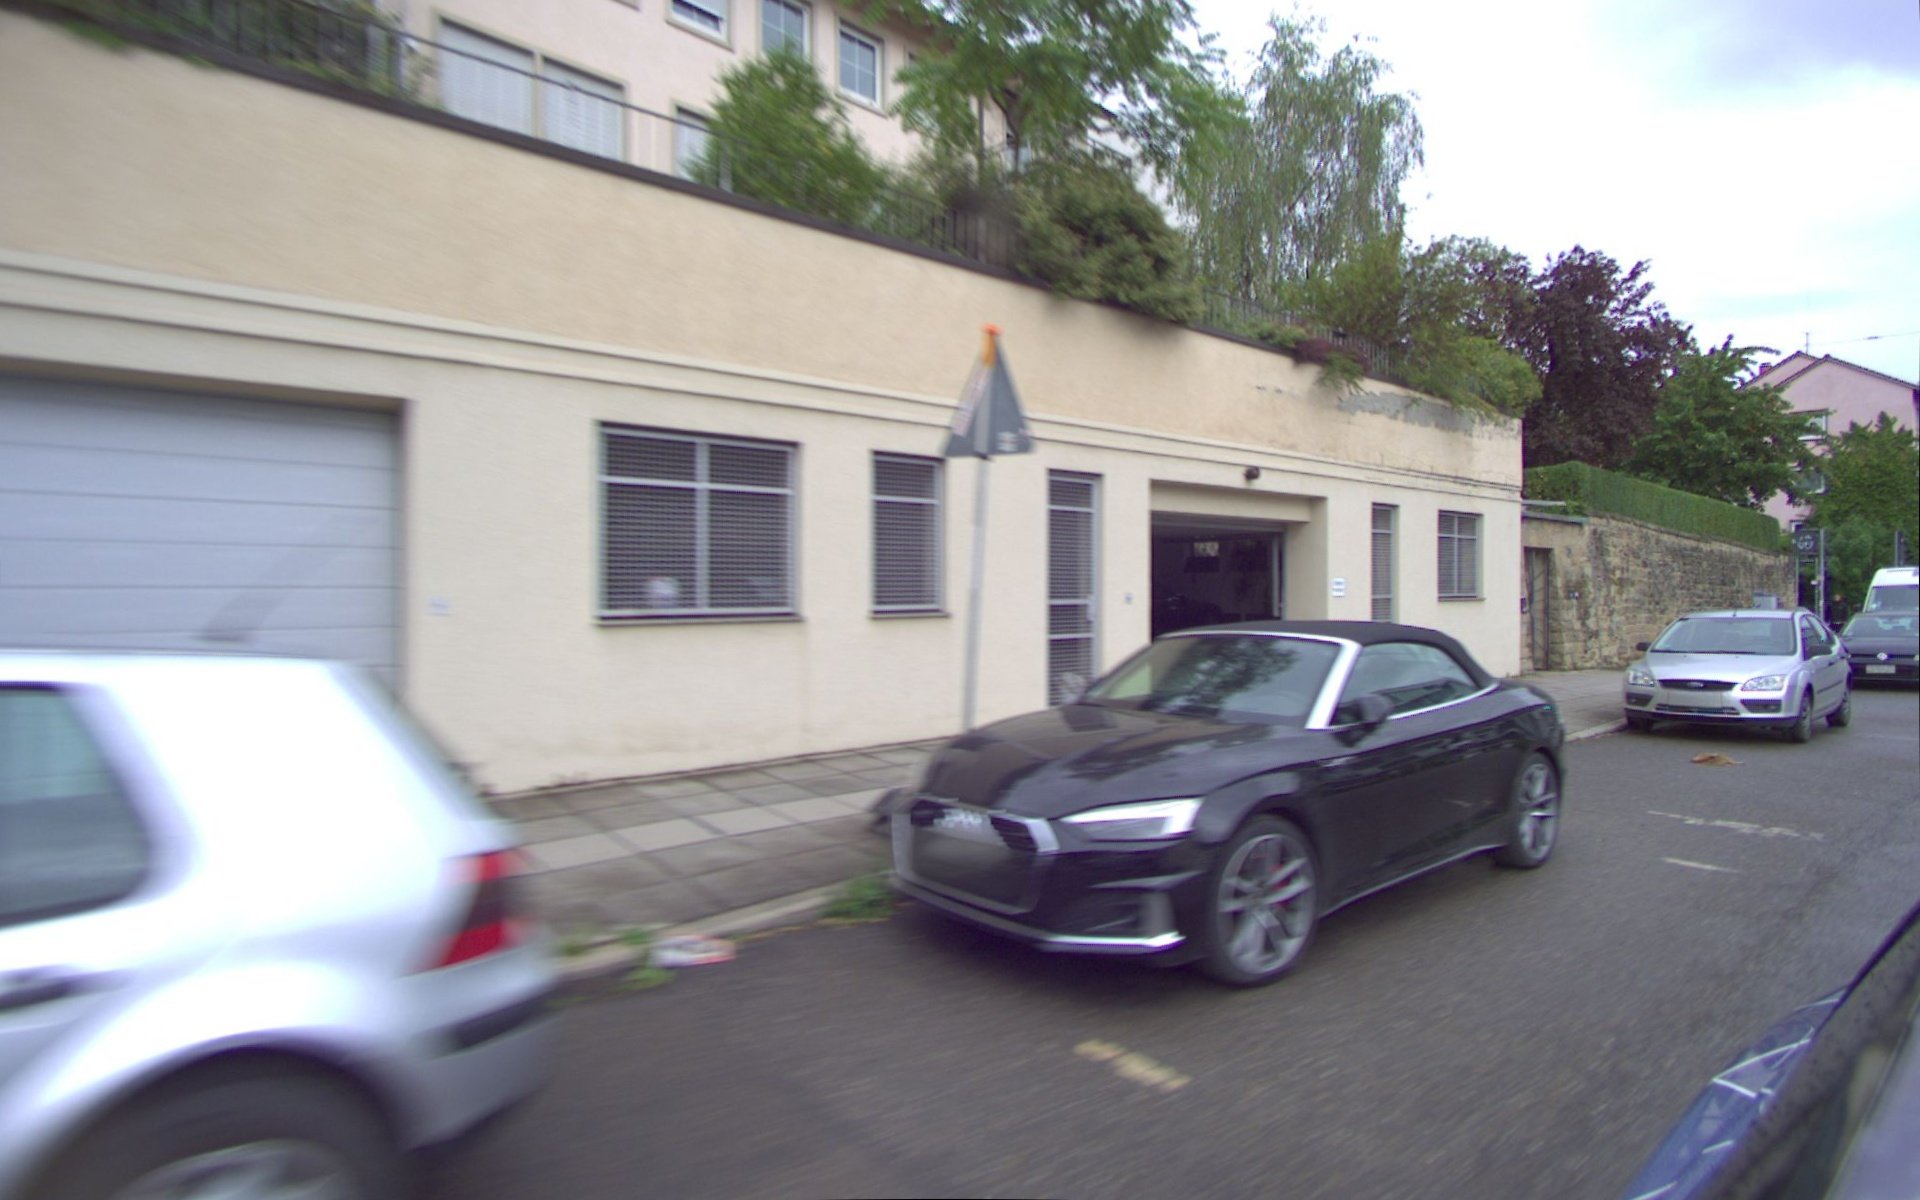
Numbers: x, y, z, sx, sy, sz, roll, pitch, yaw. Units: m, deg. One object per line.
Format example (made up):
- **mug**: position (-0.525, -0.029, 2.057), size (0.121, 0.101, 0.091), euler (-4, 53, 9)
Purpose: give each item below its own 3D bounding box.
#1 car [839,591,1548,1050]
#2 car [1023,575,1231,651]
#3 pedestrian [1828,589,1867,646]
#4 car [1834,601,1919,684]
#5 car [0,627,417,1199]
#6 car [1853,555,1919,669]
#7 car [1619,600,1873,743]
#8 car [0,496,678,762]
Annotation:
- **car**: position (1.384, 0.752, 5.109), size (3.693, 1.472, 1.632), euler (1, -2, -41)
- **car**: position (3.449, 0.199, 20.524), size (4.128, 1.363, 1.890), euler (-2, 1, -39)
- **pedestrian**: position (27.738, 0.545, 31.623), size (0.888, 1.737, 0.725), euler (2, 0, -39)
- **car**: position (18.366, 0.796, 19.521), size (4.160, 1.472, 1.691), euler (1, -2, -41)
- **car**: position (-3.014, 0.780, 1.425), size (3.693, 1.472, 1.632), euler (1, -2, -41)
- **car**: position (23.373, 0.308, 24.133), size (5.971, 2.495, 2.209), euler (1, -2, -40)
- **car**: position (9.784, 0.787, 12.480), size (4.160, 1.472, 1.691), euler (1, -2, -41)
- **car**: position (-4.402, 0.165, 7.372), size (4.133, 1.419, 1.888), euler (0, 0, -43)
